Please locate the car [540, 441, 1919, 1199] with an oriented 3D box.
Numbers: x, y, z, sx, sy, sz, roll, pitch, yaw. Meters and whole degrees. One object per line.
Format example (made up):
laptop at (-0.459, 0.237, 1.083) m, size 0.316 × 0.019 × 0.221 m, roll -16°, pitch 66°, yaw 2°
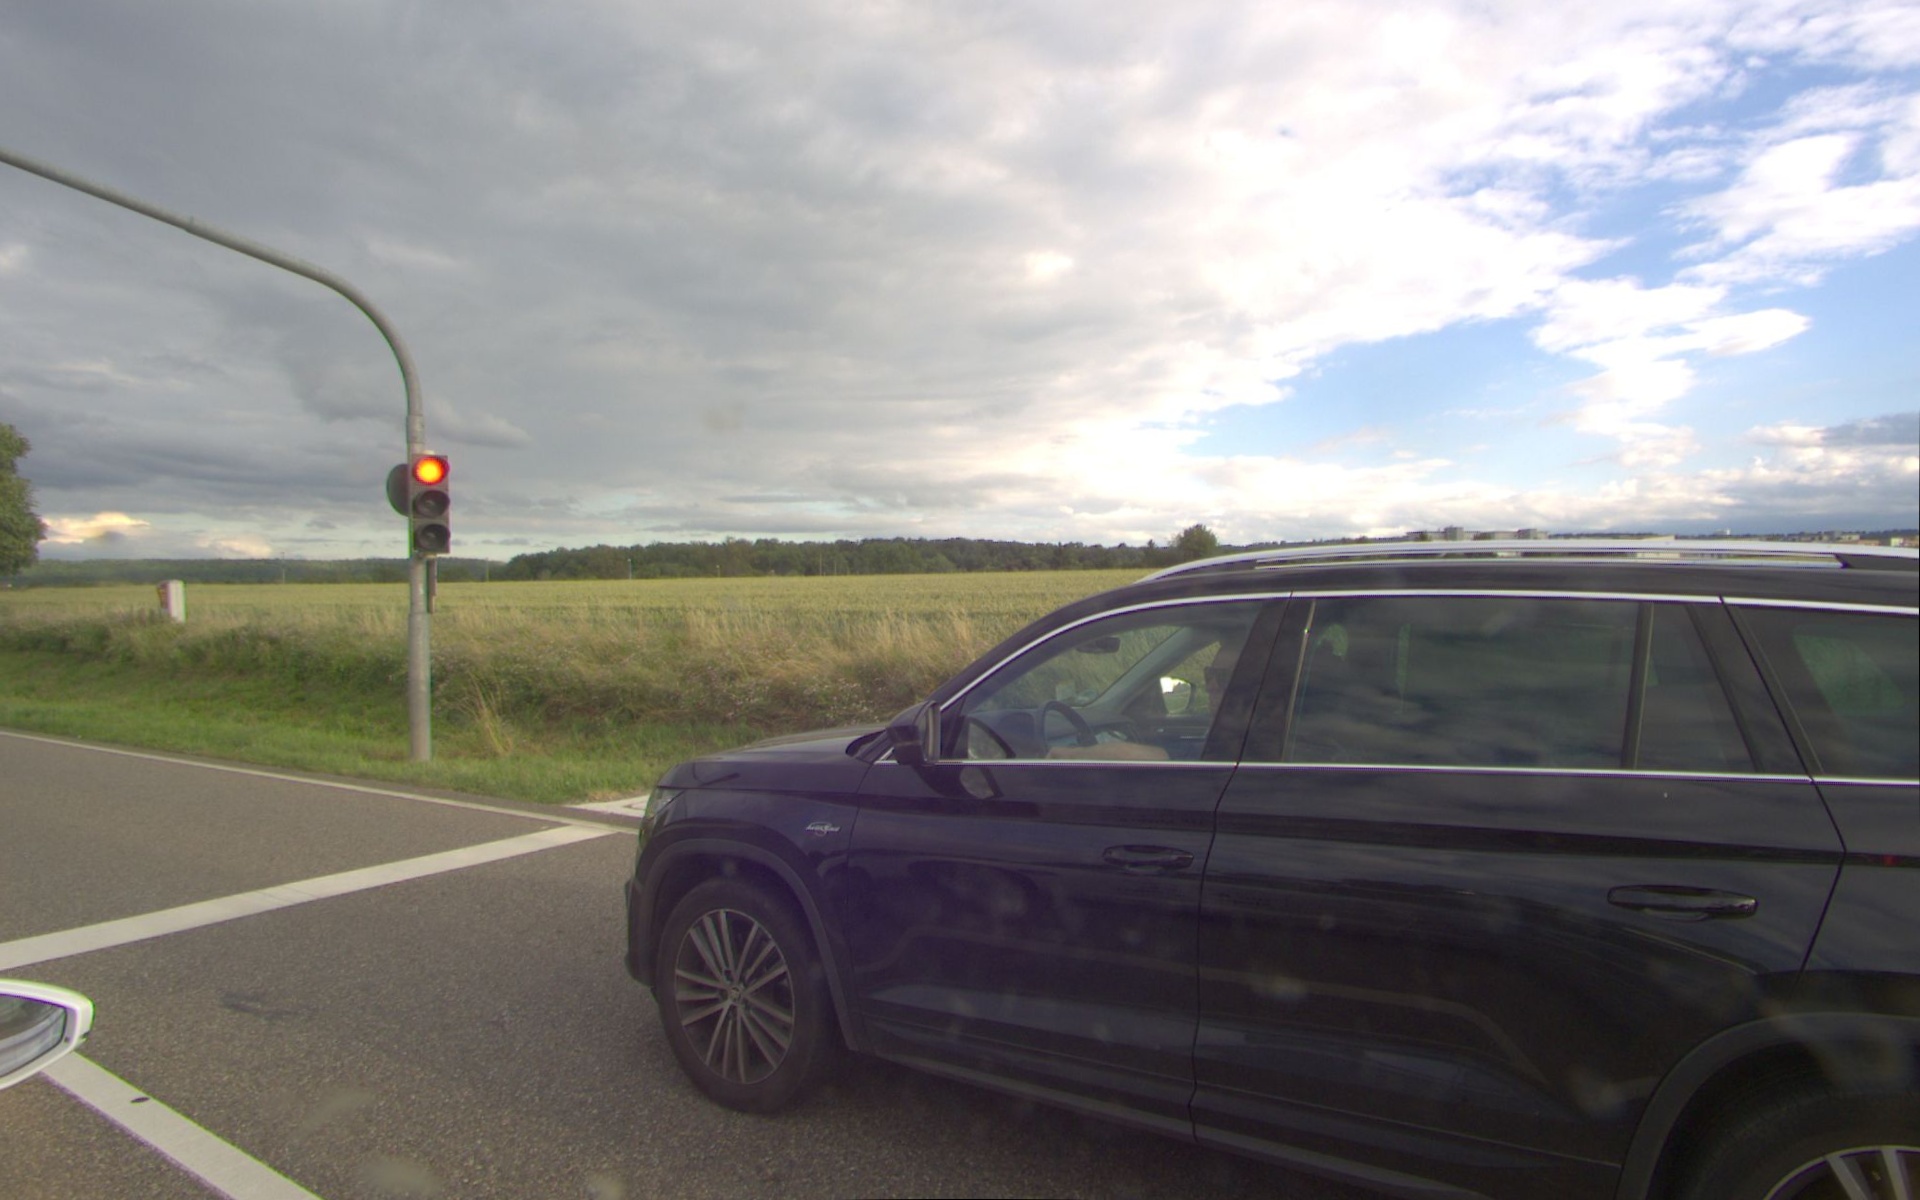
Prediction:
car at (0.907, 0.670, 3.081) m, size 4.492 × 1.730 × 1.833 m, roll -1°, pitch -2°, yaw 32°
